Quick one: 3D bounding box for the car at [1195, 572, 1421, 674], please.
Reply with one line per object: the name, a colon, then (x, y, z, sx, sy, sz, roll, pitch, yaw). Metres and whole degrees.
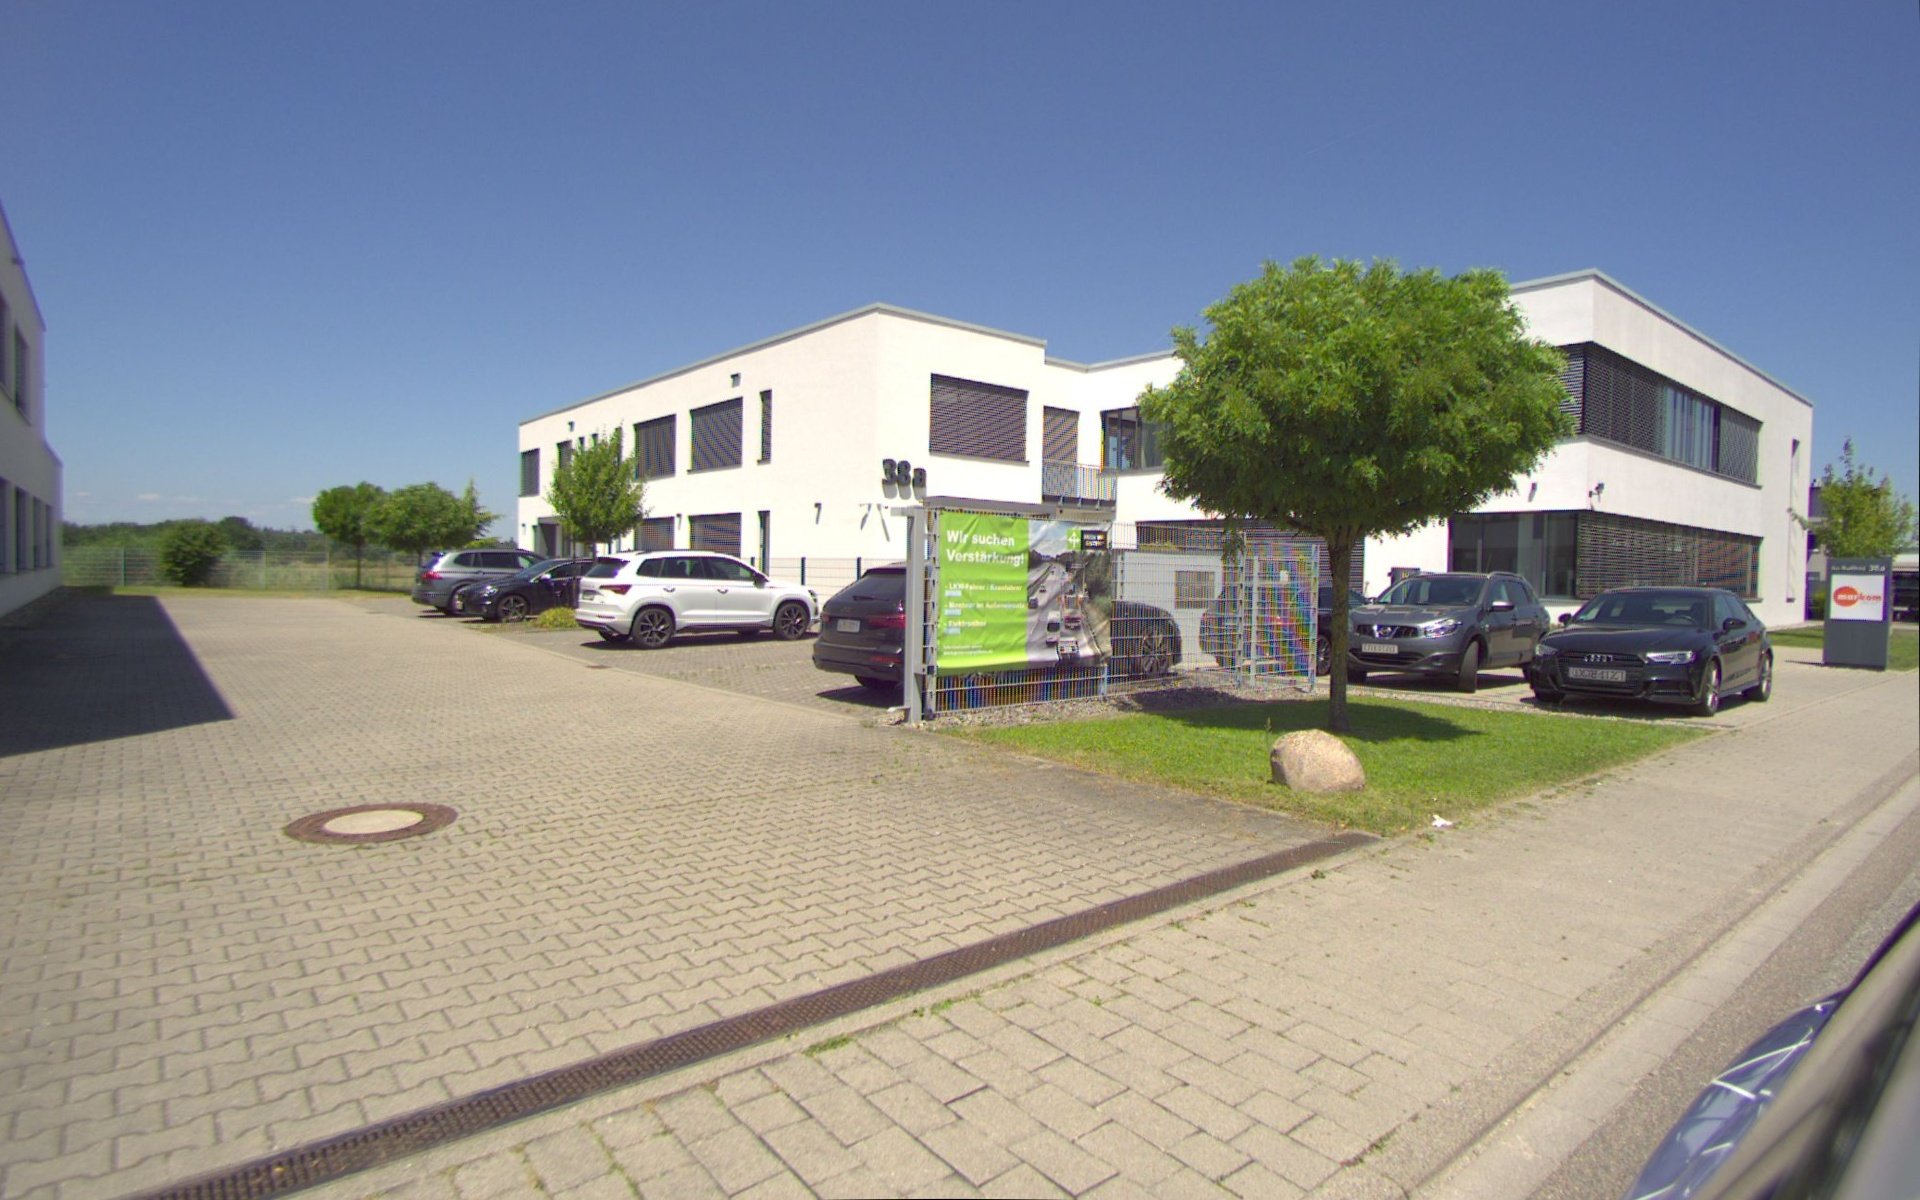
car: (5.748, 0.298, 16.505, 3.951, 1.467, 1.726, -1, 1, -40)

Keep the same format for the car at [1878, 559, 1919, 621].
car: (34.613, -0.271, 36.213, 5.699, 2.039, 1.997, 2, 1, -42)

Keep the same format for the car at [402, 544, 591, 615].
car: (-11.611, -0.583, 25.490, 3.985, 1.624, 1.742, -3, 4, -41)

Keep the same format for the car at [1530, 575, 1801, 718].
car: (8.638, 0.440, 12.264, 4.171, 1.445, 1.695, -1, 1, -40)

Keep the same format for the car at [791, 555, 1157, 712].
car: (0.276, 0.230, 11.405, 3.985, 1.415, 1.742, -3, 4, -41)

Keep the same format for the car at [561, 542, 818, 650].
car: (-4.642, -0.165, 17.690, 3.985, 1.656, 1.742, -3, 4, -41)

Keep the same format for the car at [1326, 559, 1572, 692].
car: (7.070, 0.281, 14.486, 3.951, 1.653, 1.726, -1, 1, -40)

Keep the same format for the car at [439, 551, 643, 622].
car: (-9.587, -0.378, 23.320, 3.985, 1.447, 1.742, -3, 4, -41)
